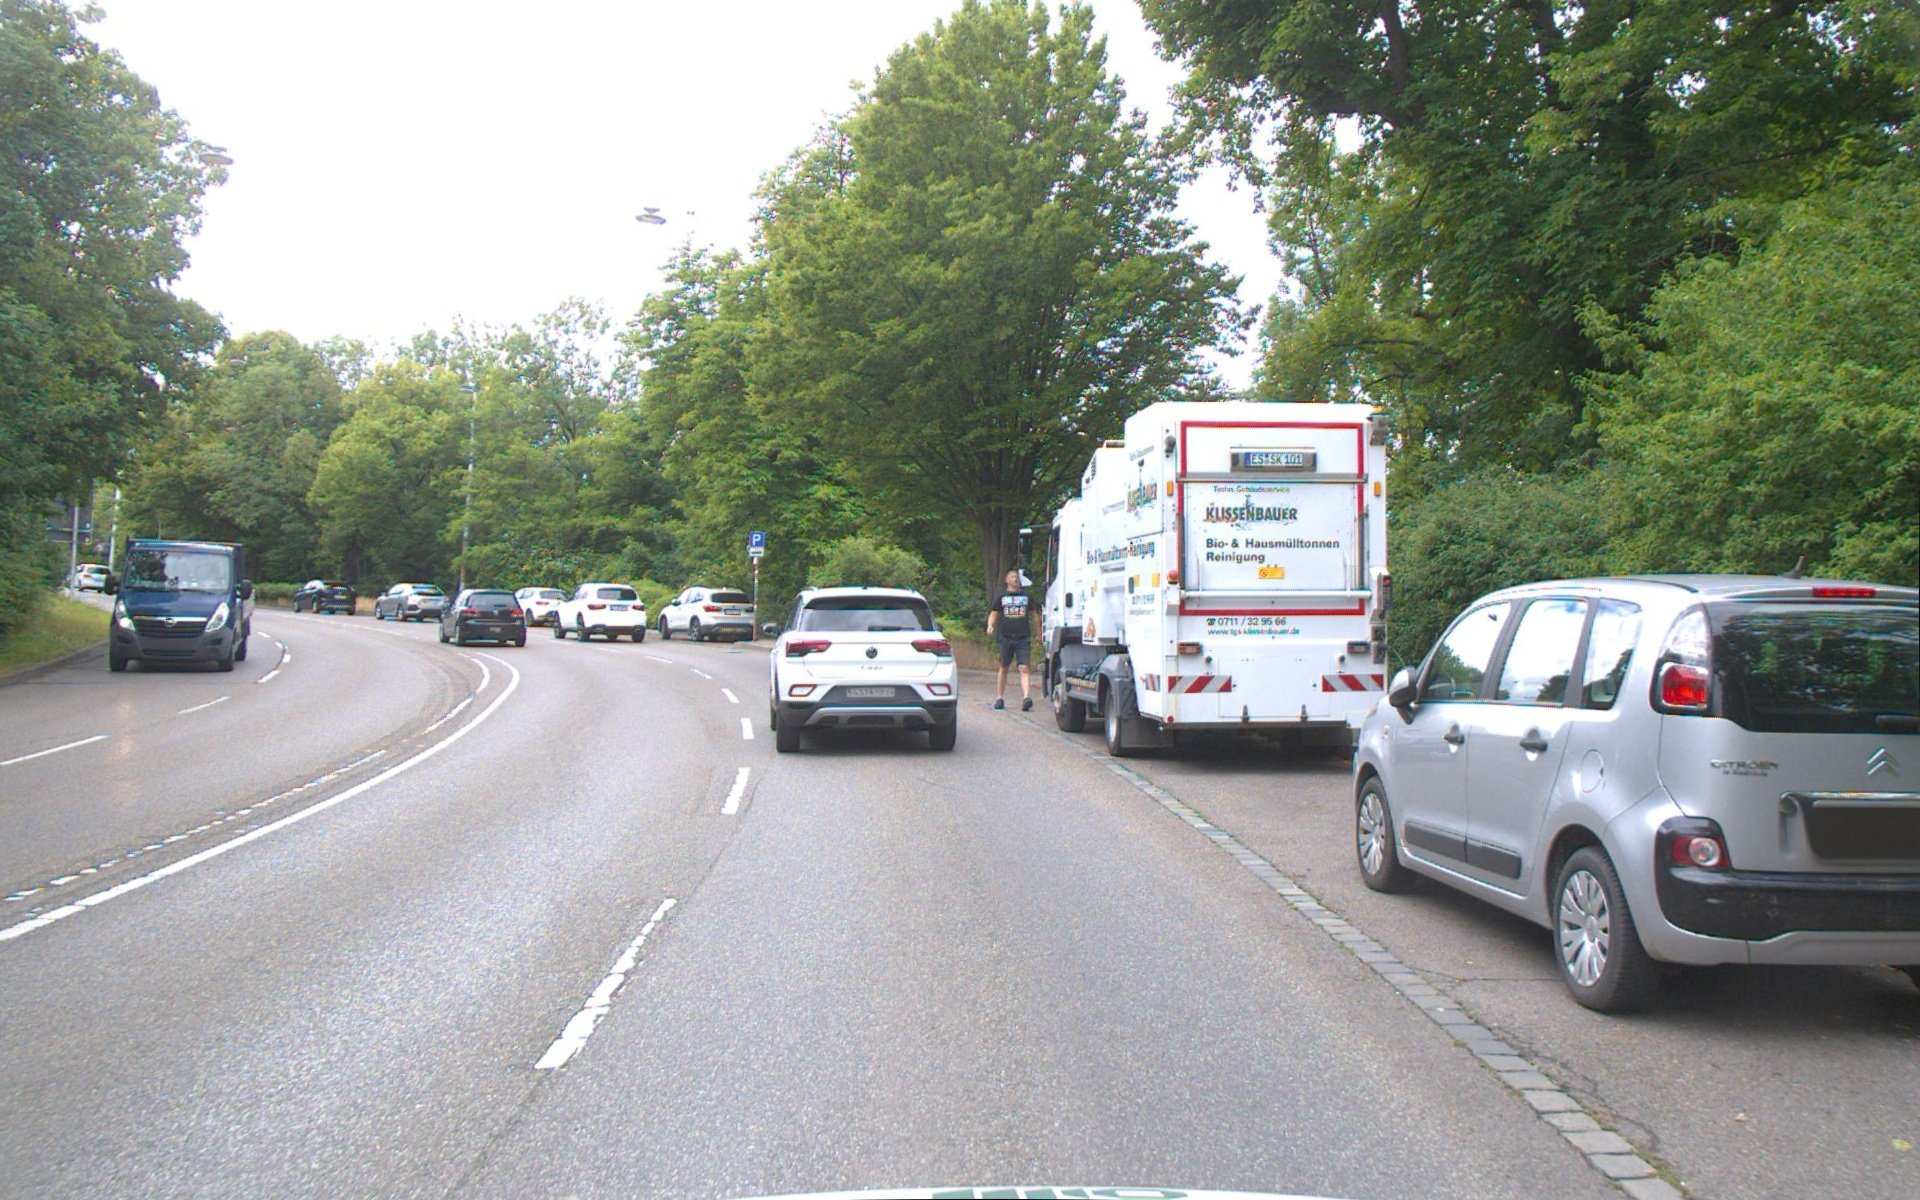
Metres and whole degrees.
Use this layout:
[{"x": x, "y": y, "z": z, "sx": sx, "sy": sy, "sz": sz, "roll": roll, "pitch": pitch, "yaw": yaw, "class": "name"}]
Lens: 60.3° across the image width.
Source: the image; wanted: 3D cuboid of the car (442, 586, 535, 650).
[{"x": -12.371, "y": 0.442, "z": 43.257, "sx": 1.922, "sy": 1.491, "sz": 3.975, "roll": 2, "pitch": 0, "yaw": -21, "class": "car"}]

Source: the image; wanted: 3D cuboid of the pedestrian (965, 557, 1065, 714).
[{"x": 0.714, "y": 0.464, "z": 22.023, "sx": 0.900, "sy": 1.861, "sz": 0.984, "roll": 13, "pitch": -1, "yaw": -1, "class": "pedestrian"}]

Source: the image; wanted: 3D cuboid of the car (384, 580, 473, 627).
[{"x": -20.248, "y": 0.119, "z": 62.926, "sx": 1.720, "sy": 1.508, "sz": 4.640, "roll": 4, "pitch": -1, "yaw": -37, "class": "car"}]

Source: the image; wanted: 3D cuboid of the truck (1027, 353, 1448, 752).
[{"x": 2.441, "y": -0.402, "z": 17.160, "sx": 2.434, "sy": 3.237, "sz": 7.219, "roll": -1, "pitch": 0, "yaw": -6, "class": "truck"}]

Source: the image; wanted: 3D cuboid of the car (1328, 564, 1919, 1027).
[{"x": 3.118, "y": 0.662, "z": 7.594, "sx": 1.767, "sy": 1.551, "sz": 3.997, "roll": 0, "pitch": 0, "yaw": -3, "class": "car"}]

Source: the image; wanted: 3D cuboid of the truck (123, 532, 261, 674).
[{"x": -14.708, "y": 0.028, "z": 31.572, "sx": 2.134, "sy": 2.412, "sz": 6.622, "roll": 1, "pitch": 0, "yaw": -26, "class": "truck"}]

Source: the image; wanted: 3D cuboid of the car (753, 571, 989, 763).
[{"x": -1.046, "y": 0.618, "z": 16.999, "sx": 1.964, "sy": 1.623, "sz": 3.992, "roll": 4, "pitch": -1, "yaw": -9, "class": "car"}]

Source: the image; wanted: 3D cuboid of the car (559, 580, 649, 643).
[{"x": -10.388, "y": 0.293, "z": 48.107, "sx": 1.827, "sy": 1.732, "sz": 3.971, "roll": 0, "pitch": 1, "yaw": -24, "class": "car"}]

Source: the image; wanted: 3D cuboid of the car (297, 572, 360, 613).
[{"x": -27.898, "y": -0.348, "z": 73.017, "sx": 1.750, "sy": 1.634, "sz": 3.955, "roll": 4, "pitch": -1, "yaw": -33, "class": "car"}]

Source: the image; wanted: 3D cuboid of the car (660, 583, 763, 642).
[{"x": -7.540, "y": 0.354, "z": 49.863, "sx": 1.738, "sy": 1.681, "sz": 4.341, "roll": 1, "pitch": 0, "yaw": -28, "class": "car"}]
